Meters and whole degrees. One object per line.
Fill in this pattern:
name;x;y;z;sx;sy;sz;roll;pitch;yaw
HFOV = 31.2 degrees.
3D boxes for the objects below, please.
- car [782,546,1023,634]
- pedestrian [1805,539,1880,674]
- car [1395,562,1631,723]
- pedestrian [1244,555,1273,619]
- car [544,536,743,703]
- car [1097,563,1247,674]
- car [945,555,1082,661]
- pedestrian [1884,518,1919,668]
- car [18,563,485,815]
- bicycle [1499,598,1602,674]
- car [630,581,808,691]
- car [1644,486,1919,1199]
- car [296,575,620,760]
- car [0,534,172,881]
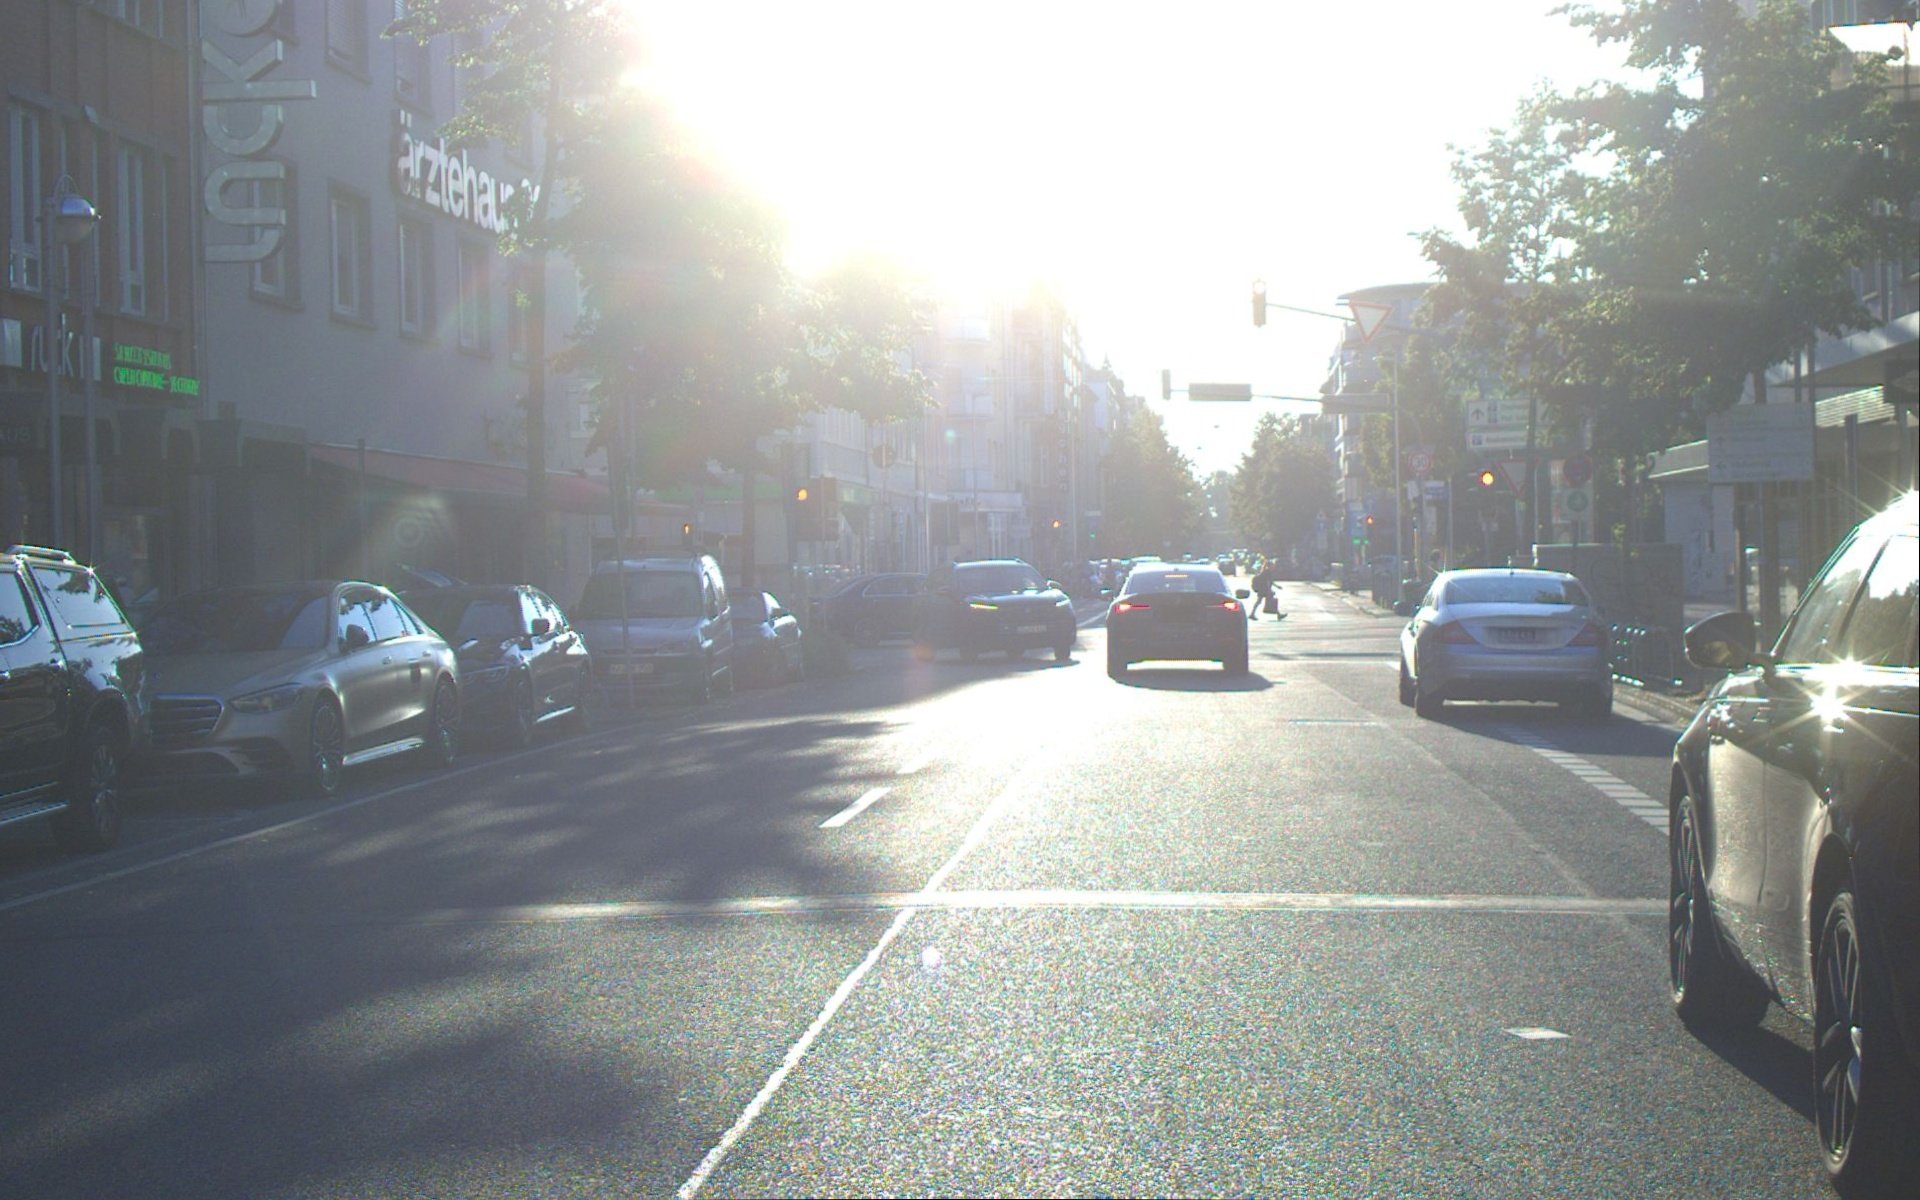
car;-1.129;-0.226;67.363;4.310;1.596;1.929;-1;2;-20
pedestrian;10.336;0.067;40.267;0.688;1.553;0.862;-1;0;5
car;5.311;0.359;33.527;1.922;1.410;4.547;1;1;5
pedestrian;7.738;-0.329;89.095;0.573;1.639;0.528;-1;2;-16
car;-3.673;0.198;40.563;1.833;1.848;4.124;-1;0;2
car;2.904;0.212;46.292;1.884;1.410;4.324;0;1;5
car;0.918;0.096;56.750;1.922;1.596;4.324;-1;2;5
pedestrian;11.141;-0.091;39.936;0.688;1.716;0.716;-2;0;11
car;-5.011;0.560;25.131;1.827;1.551;5.135;-3;1;6
bicycle;9.183;0.560;53.488;1.539;1.142;0.381;0;2;6
car;-3.206;0.457;46.416;1.833;1.323;4.123;-1;1;4
car;3.076;0.582;9.034;1.995;1.649;4.673;1;1;5
car;-4.423;0.551;30.993;1.827;1.434;4.552;-3;0;5
car;-5.911;0.589;18.404;1.827;1.804;5.348;-3;1;3
